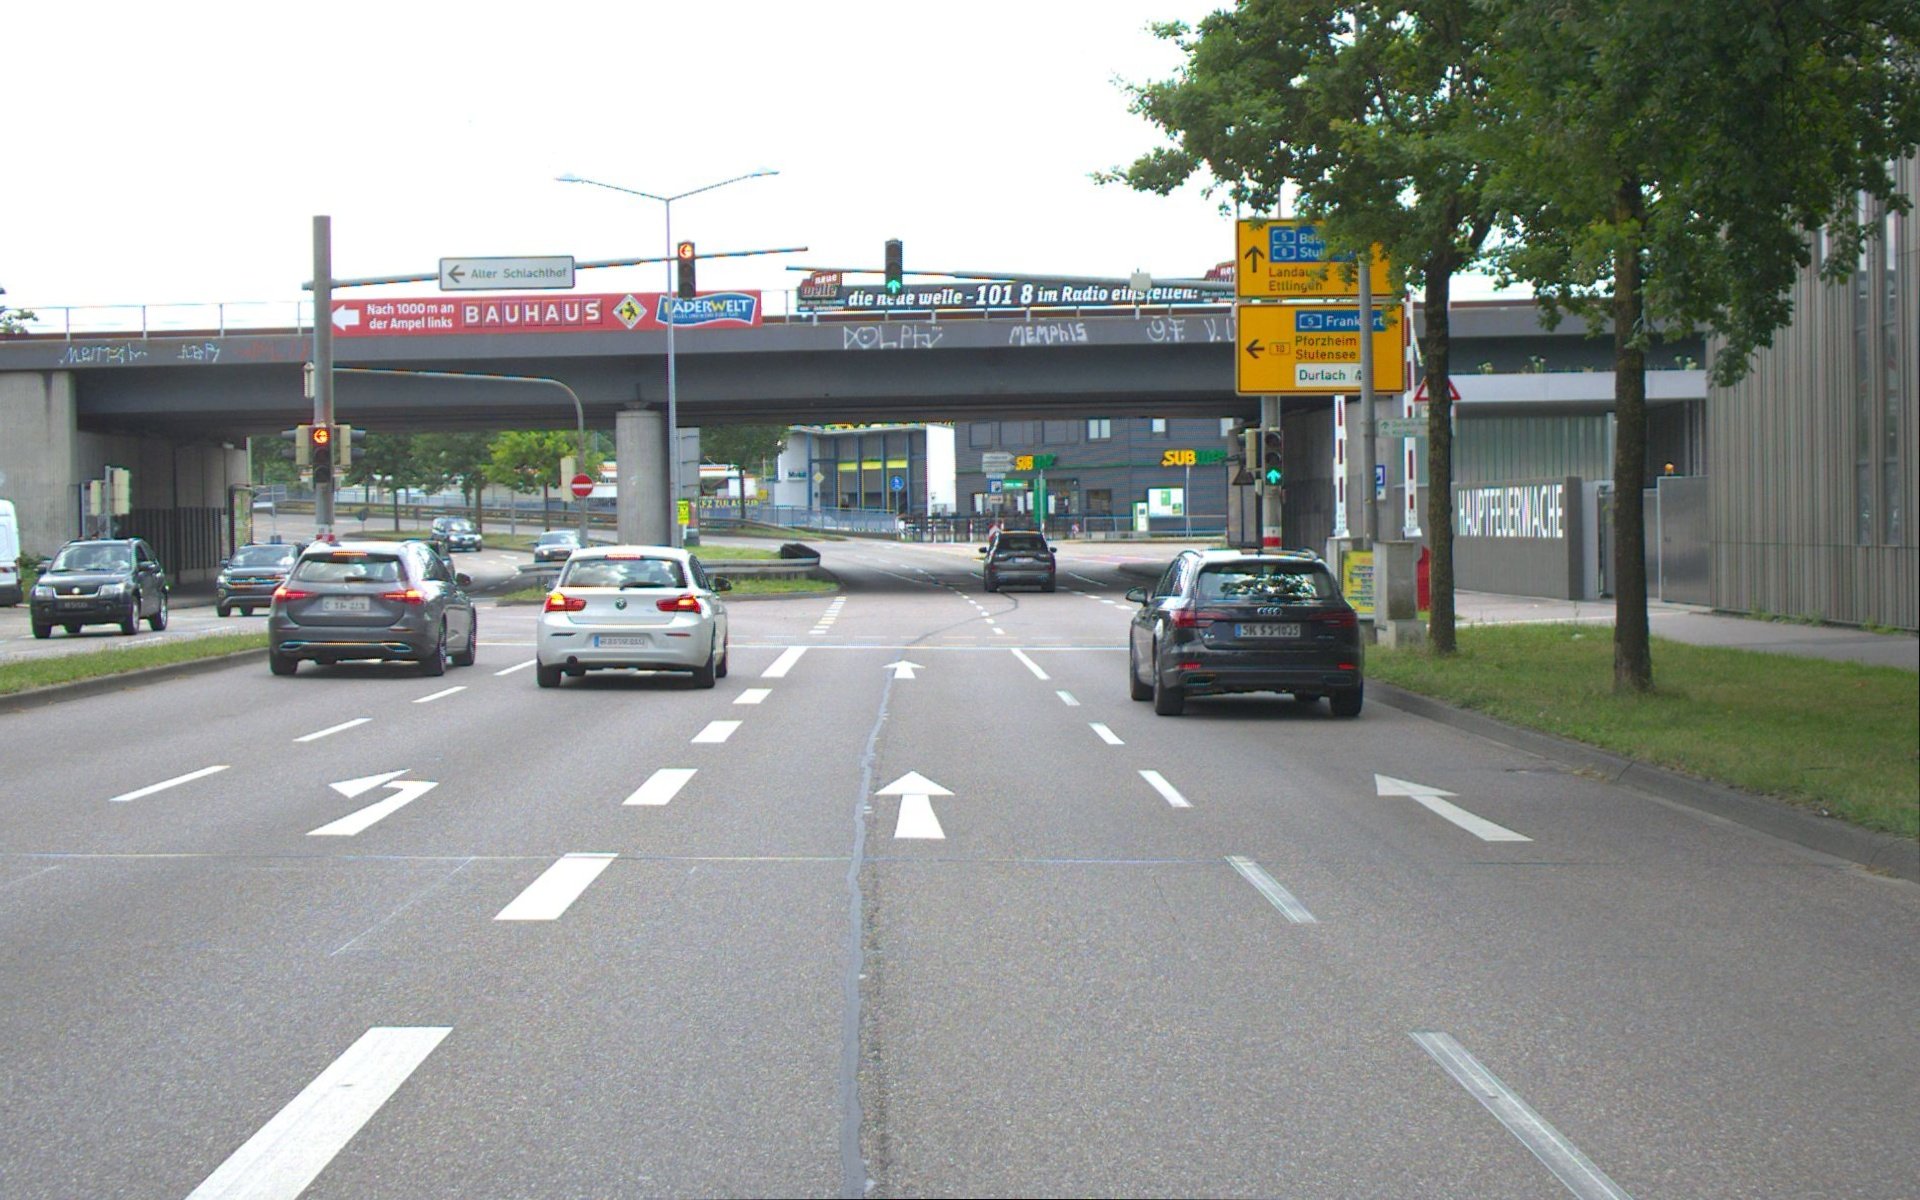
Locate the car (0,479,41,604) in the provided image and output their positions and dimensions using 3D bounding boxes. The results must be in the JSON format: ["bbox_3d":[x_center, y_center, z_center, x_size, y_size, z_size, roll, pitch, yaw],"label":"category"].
[{"bbox_3d":[-23.808,-1.285,77.831,5.397,2.812,2.387,-1,1,-26],"label":"car"}]

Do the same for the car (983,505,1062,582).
[{"bbox_3d":[1.680,-1.548,94.096,1.993,2.030,4.713,-1,1,0],"label":"car"}]

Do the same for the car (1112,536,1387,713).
[{"bbox_3d":[2.520,0.163,30.985,1.993,1.385,4.576,1,2,-1],"label":"car"}]

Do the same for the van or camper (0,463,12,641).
[{"bbox_3d":[-14.759,-0.624,46.098,2.351,2.531,7.065,0,1,-2],"label":"van or camper"}]

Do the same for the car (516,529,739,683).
[{"bbox_3d":[-3.379,0.015,35.653,1.915,1.410,4.296,2,1,-1],"label":"car"}]

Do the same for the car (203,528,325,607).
[{"bbox_3d":[-14.969,-0.722,74.152,1.806,1.626,4.393,-1,1,-1],"label":"car"}]

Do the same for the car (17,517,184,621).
[{"bbox_3d":[-15.305,-0.578,61.408,1.993,1.760,4.221,-1,1,-2],"label":"car"}]

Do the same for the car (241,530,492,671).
[{"bbox_3d":[-6.467,-0.046,37.977,1.993,1.410,4.832,1,1,-1],"label":"car"}]
